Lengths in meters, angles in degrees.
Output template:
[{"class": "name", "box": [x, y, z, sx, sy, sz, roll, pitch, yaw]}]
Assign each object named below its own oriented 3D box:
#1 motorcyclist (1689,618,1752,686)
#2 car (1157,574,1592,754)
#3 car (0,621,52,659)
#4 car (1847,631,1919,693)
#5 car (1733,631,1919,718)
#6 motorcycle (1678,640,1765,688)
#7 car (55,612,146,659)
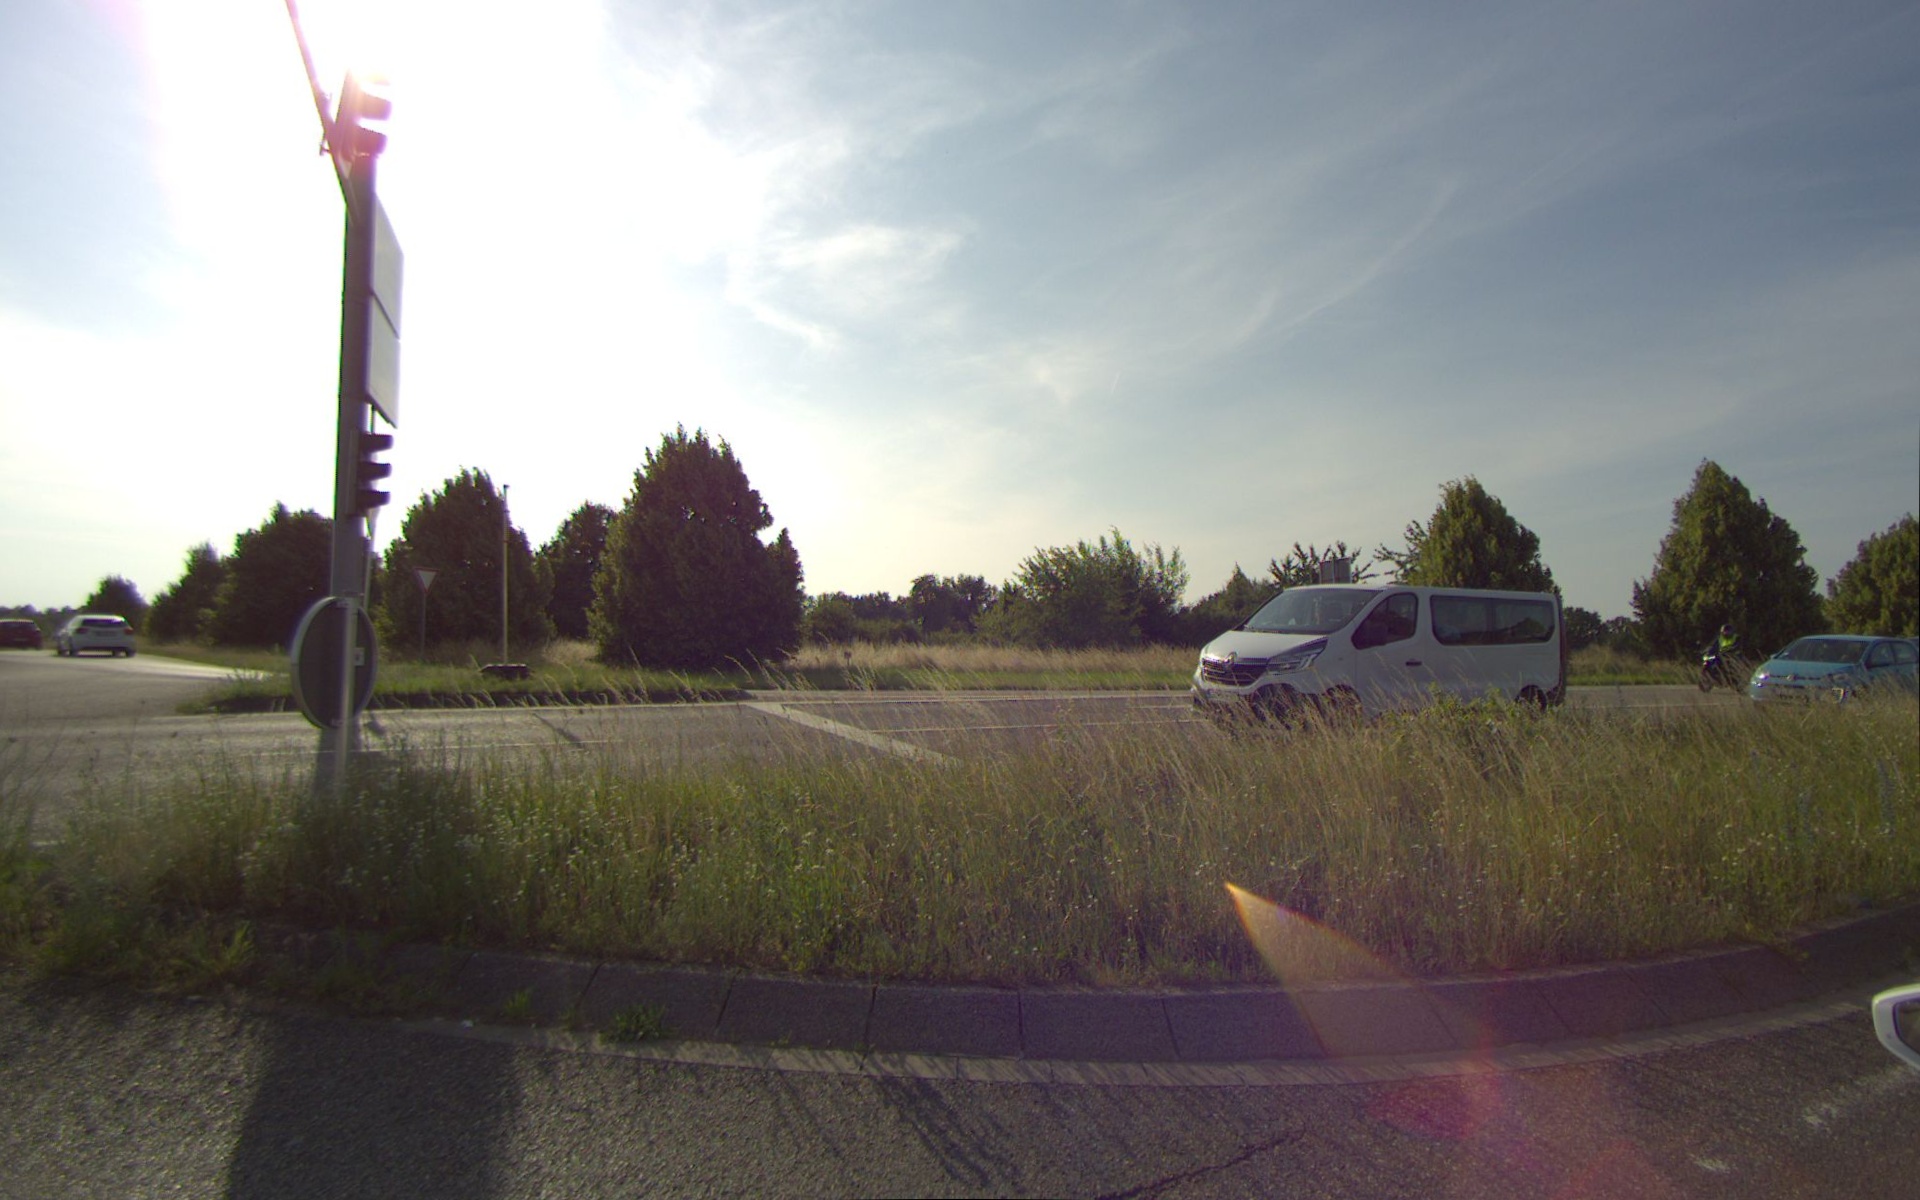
[{"class": "motorcyclist", "box": [18.753, 1.285, 24.758, 1.233, 1.625, 0.749, 2, -1, -26]}, {"class": "car", "box": [5.463, 0.784, 13.005, 5.715, 1.929, 1.986, 2, -1, -27]}, {"class": "car", "box": [-44.118, 1.850, 46.980, 4.068, 1.608, 1.918, 1, -1, 40]}, {"class": "car", "box": [26.648, 1.691, 27.461, 4.547, 1.586, 1.907, 2, -1, -25]}, {"class": "car", "box": [16.649, 1.380, 19.102, 3.704, 1.462, 1.672, 2, -1, -27]}, {"class": "motorcycle", "box": [18.780, 1.566, 24.762, 2.278, 1.108, 0.749, 2, -1, -26]}, {"class": "car", "box": [-31.334, 1.255, 36.597, 4.383, 1.555, 1.943, 0, -1, 42]}]
